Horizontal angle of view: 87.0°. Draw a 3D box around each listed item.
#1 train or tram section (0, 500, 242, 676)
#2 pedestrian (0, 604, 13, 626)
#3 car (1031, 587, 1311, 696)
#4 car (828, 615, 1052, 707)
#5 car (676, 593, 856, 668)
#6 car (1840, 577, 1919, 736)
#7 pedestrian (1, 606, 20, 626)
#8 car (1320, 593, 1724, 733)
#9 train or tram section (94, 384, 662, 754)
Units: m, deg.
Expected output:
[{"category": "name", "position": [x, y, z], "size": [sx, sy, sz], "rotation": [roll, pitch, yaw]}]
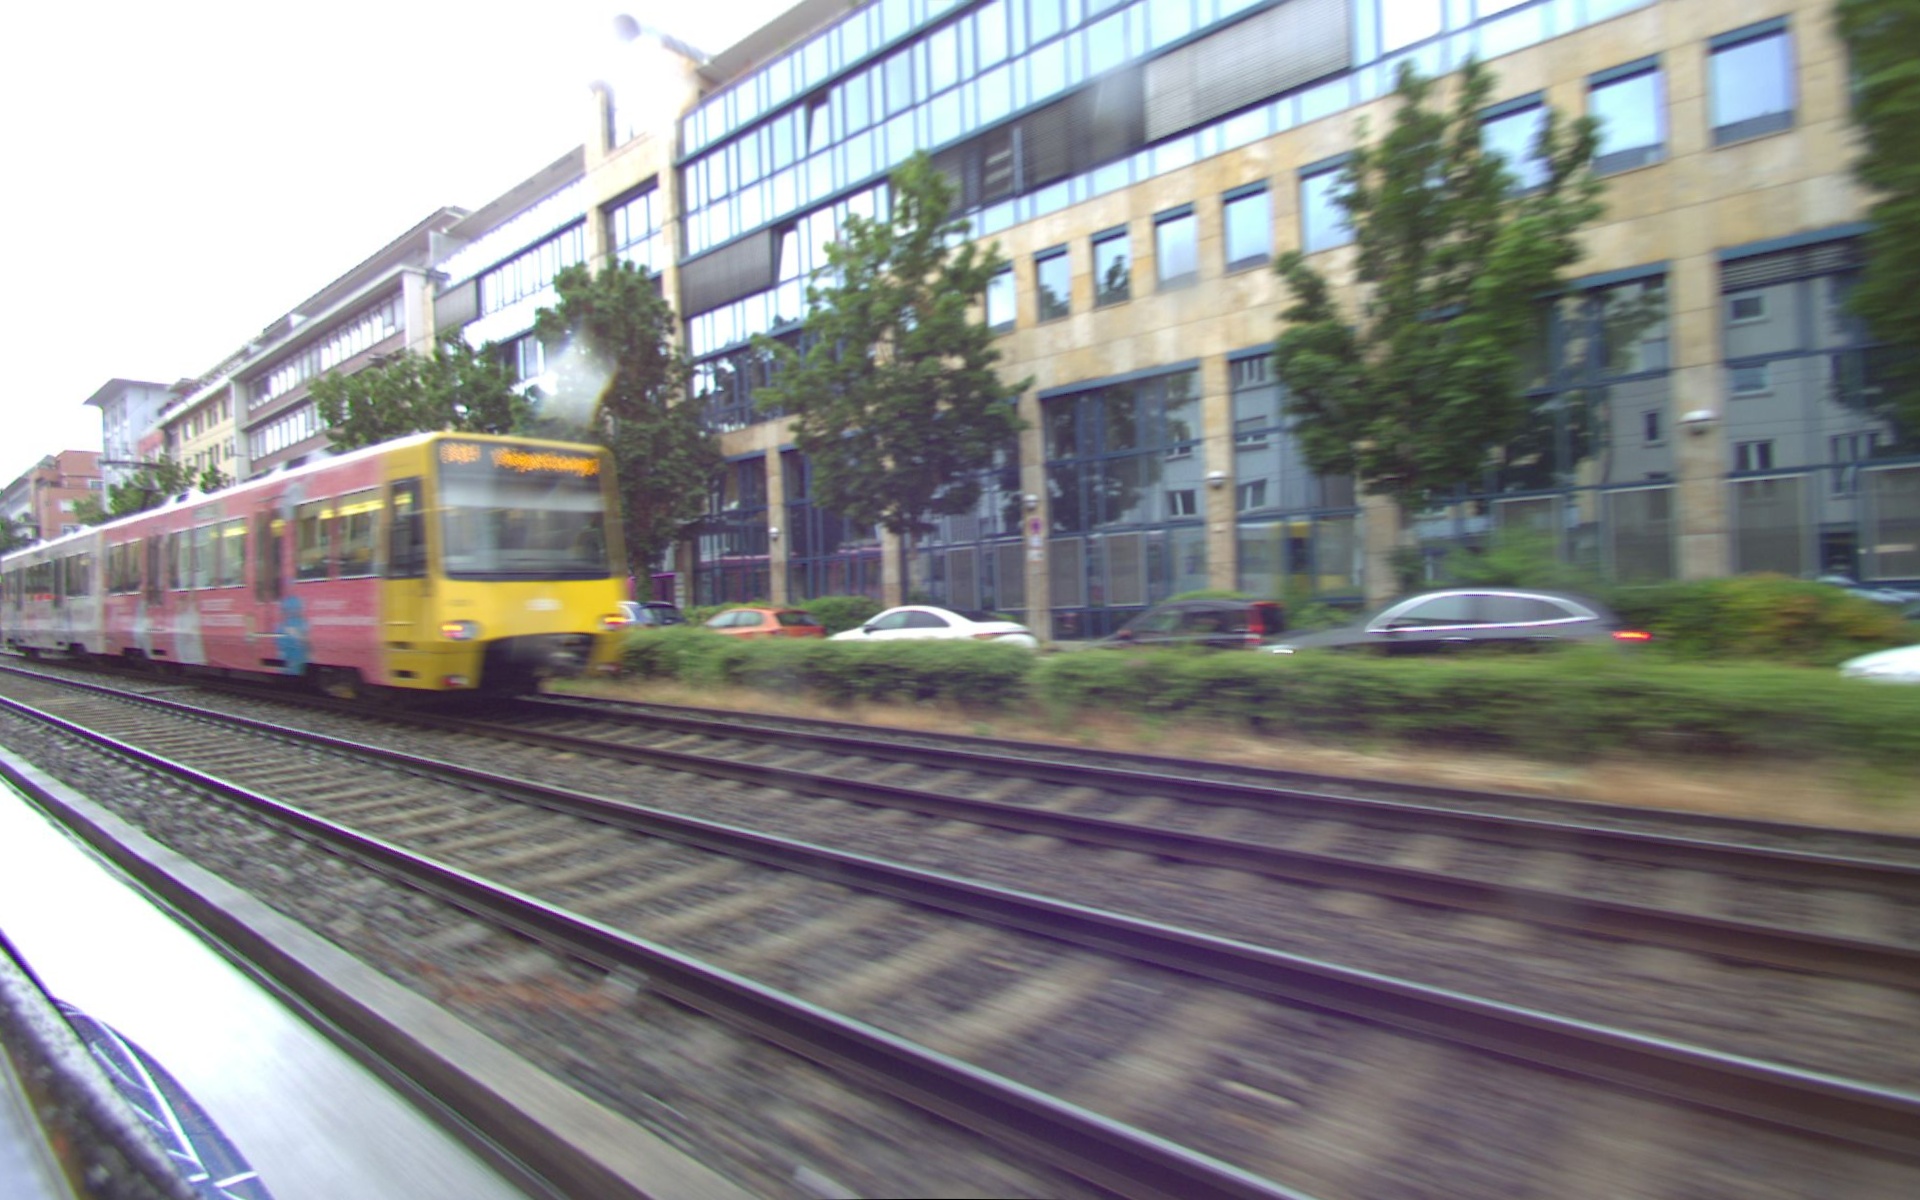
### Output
[{"category": "train or tram section", "position": [-26.076, -0.206, 30.517], "size": [18.400, 4.081, 2.872], "rotation": [-1, 0, 41]}, {"category": "pedestrian", "position": [-61.889, 0.996, 65.353], "size": [0.637, 1.396, 0.946], "rotation": [-1, -1, 38]}, {"category": "car", "position": [3.255, 0.639, 16.009], "size": [3.996, 1.497, 1.672], "rotation": [-2, 0, 39]}, {"category": "car", "position": [-0.461, 1.062, 18.939], "size": [4.190, 1.509, 1.632], "rotation": [-1, -1, 41]}, {"category": "car", "position": [-4.398, 0.653, 22.557], "size": [4.290, 1.509, 1.632], "rotation": [-1, -1, 41]}, {"category": "car", "position": [10.914, 0.467, 9.225], "size": [4.251, 1.497, 1.672], "rotation": [-2, 0, 39]}, {"category": "pedestrian", "position": [-61.178, 1.035, 65.185], "size": [0.637, 1.265, 0.805], "rotation": [-1, -1, 38]}, {"category": "car", "position": [7.091, 0.757, 13.014], "size": [4.290, 1.497, 1.672], "rotation": [-2, 0, 39]}, {"category": "train or tram section", "position": [-11.979, -0.270, 18.382], "size": [18.756, 4.081, 2.872], "rotation": [-1, 0, 41]}]
